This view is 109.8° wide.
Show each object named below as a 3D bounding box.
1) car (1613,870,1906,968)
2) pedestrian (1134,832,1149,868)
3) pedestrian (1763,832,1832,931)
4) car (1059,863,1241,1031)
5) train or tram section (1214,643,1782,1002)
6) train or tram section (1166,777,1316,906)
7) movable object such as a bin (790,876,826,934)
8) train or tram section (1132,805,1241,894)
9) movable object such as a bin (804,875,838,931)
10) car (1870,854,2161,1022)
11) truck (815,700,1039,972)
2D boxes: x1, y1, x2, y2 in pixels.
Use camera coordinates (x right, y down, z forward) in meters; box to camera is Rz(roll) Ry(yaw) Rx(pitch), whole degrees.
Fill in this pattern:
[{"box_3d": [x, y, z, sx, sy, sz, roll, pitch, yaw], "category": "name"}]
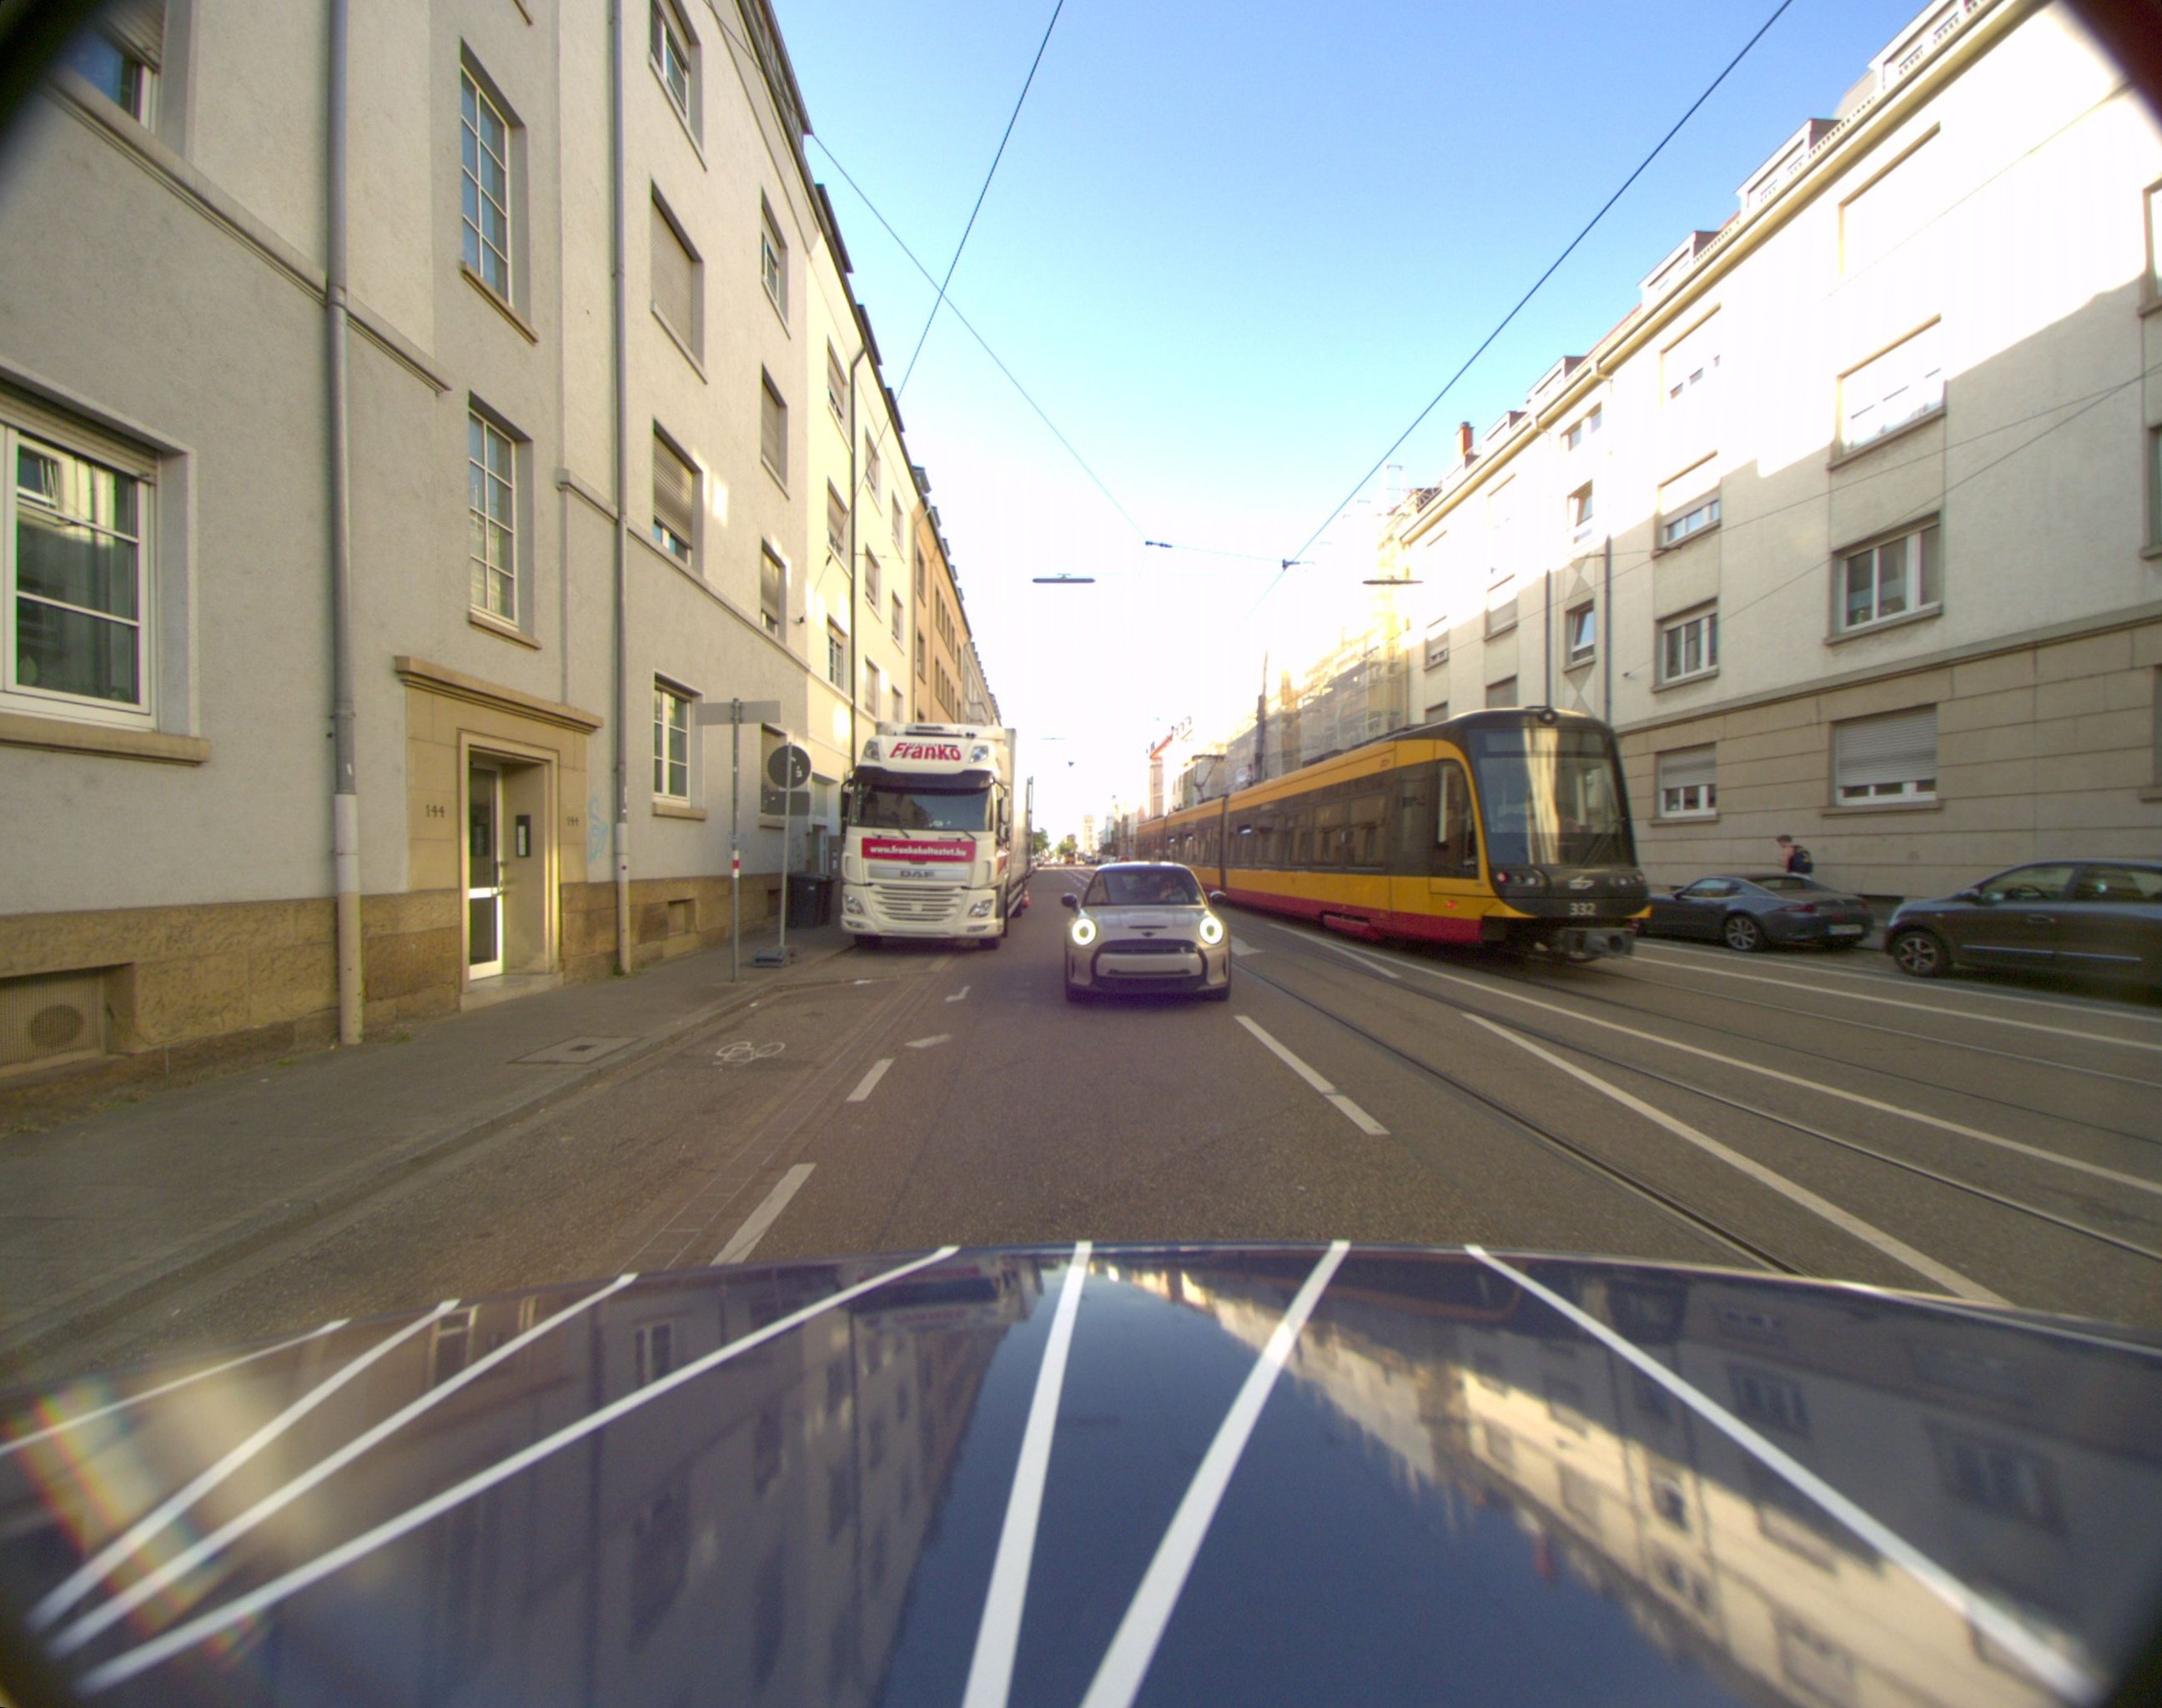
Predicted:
[{"box_3d": [11.251, 0.988, 12.961, 1.751, 1.269, 3.488, -2, 1, -4], "category": "car"}, {"box_3d": [7.547, -0.492, 94.831, 1.723, 4.377, 1.153, -2, 1, 2], "category": "pedestrian"}, {"box_3d": [13.641, 0.508, 14.489, 0.600, 1.822, 0.733, -2, 1, 0], "category": "pedestrian"}, {"box_3d": [0.637, 0.891, 9.045, 1.692, 1.495, 4.000, 0, 0, 0], "category": "car"}, {"box_3d": [5.606, -0.402, 14.987, 2.752, 3.611, 14.259, -2, 1, -2], "category": "train or tram section"}, {"box_3d": [5.122, -0.391, 26.397, 2.833, 3.610, 9.081, -2, 1, -2], "category": "train or tram section"}, {"box_3d": [-5.398, 1.000, 15.032, 0.512, 1.085, 0.495, -2, 1, -4], "category": "movable object such as a bin"}, {"box_3d": [4.740, -0.223, 37.280, 3.070, 3.573, 12.626, 1, 0, -2], "category": "train or tram section"}, {"box_3d": [-5.353, 1.003, 15.645, 0.512, 1.085, 0.495, -2, 1, -4], "category": "movable object such as a bin"}, {"box_3d": [11.401, 0.833, 8.388, 1.670, 1.563, 3.496, -2, 1, -2], "category": "car"}, {"box_3d": [-2.599, -0.259, 17.144, 2.899, 3.939, 11.704, -2, 0, -2], "category": "truck"}]
